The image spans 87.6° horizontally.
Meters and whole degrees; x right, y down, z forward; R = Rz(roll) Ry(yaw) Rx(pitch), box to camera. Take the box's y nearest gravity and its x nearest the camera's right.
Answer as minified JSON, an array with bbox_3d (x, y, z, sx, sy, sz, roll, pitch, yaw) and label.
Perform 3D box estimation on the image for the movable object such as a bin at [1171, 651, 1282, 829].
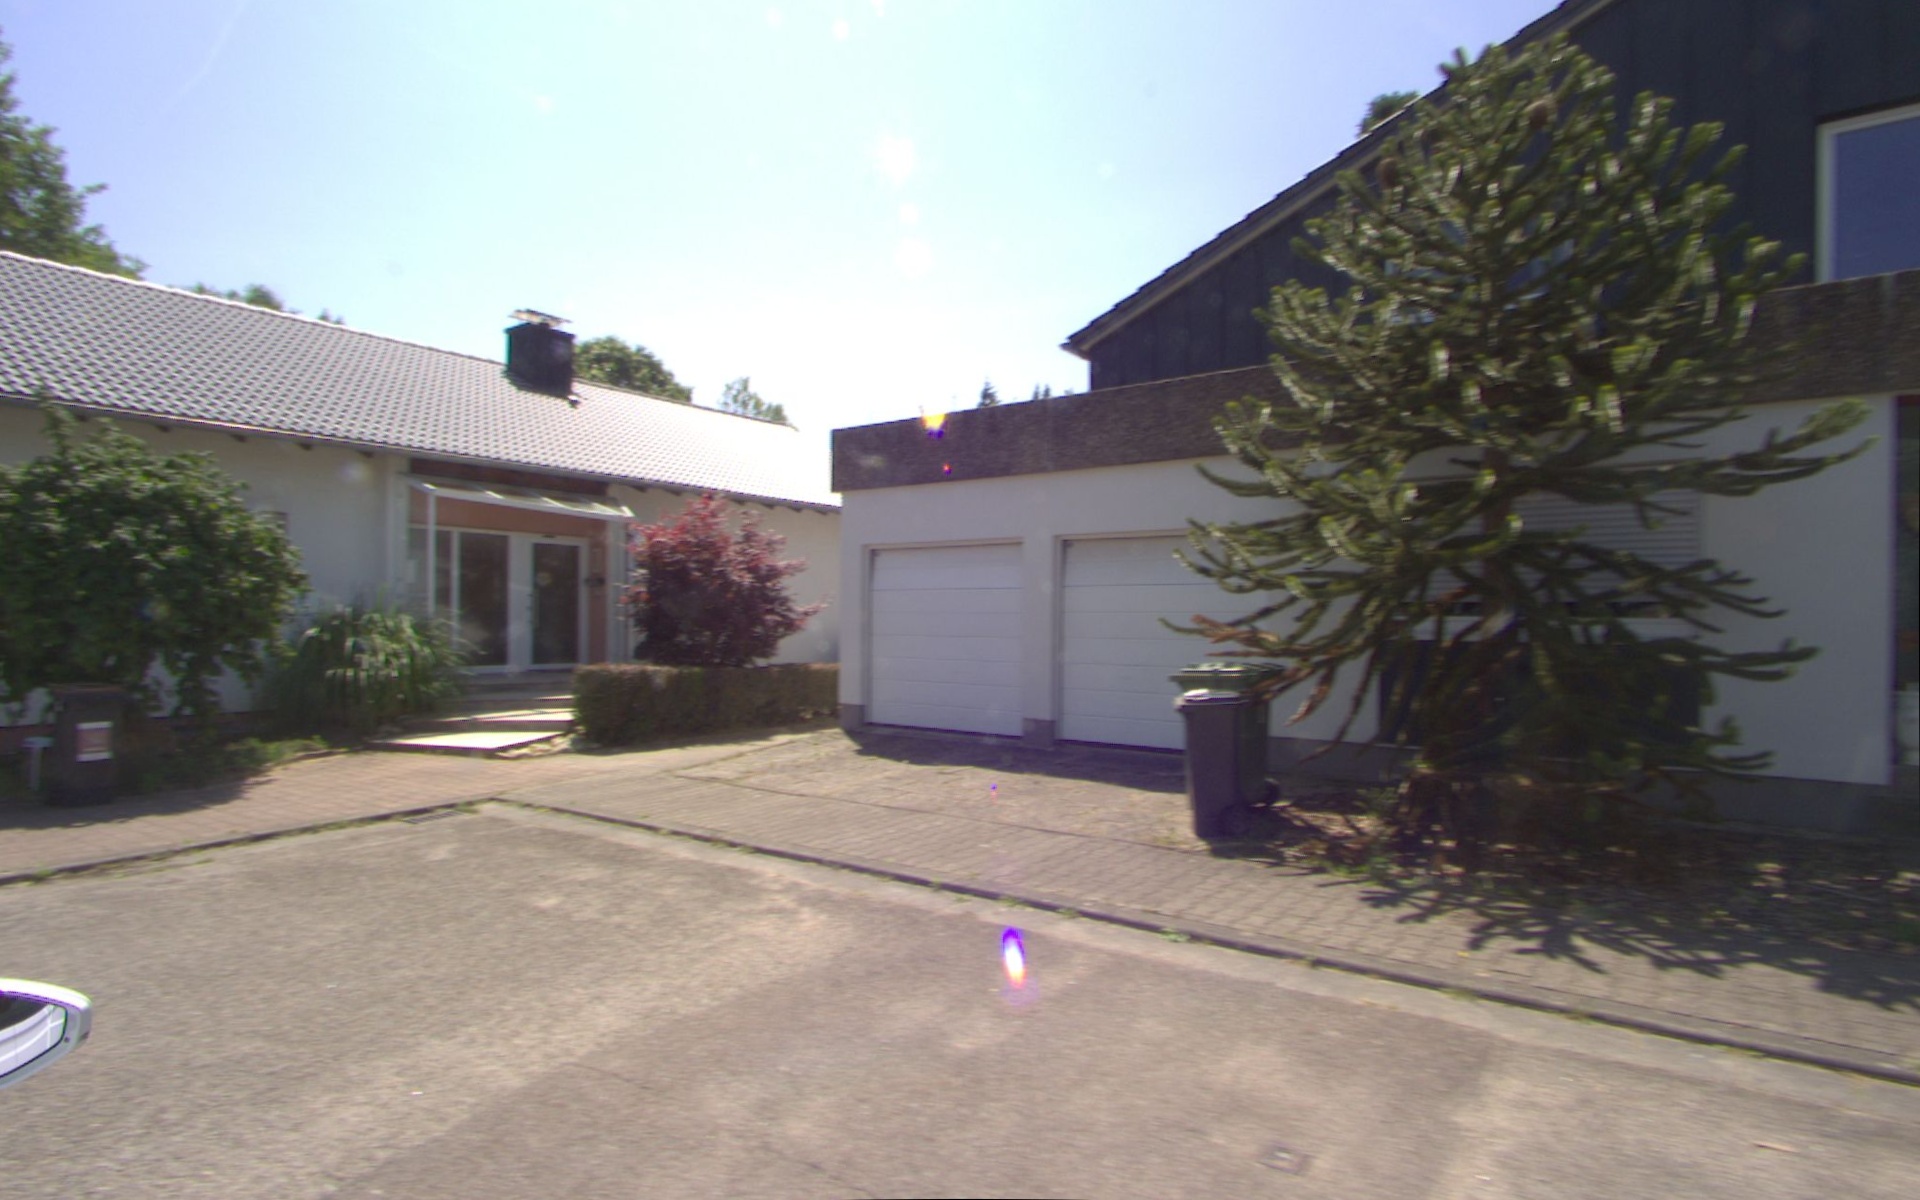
[{"bbox_3d":[1.975,1.001,7.413,0.625,1.219,0.548,0,-1,37],"label":"movable object such as a bin"}]

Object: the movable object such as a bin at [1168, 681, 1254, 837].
[{"bbox_3d":[1.659,1.037,6.654,0.514,0.962,0.389,1,0,10],"label":"movable object such as a bin"}]

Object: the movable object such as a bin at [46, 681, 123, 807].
[{"bbox_3d":[-6.776,1.100,7.752,0.385,0.903,0.373,1,0,35],"label":"movable object such as a bin"}]
